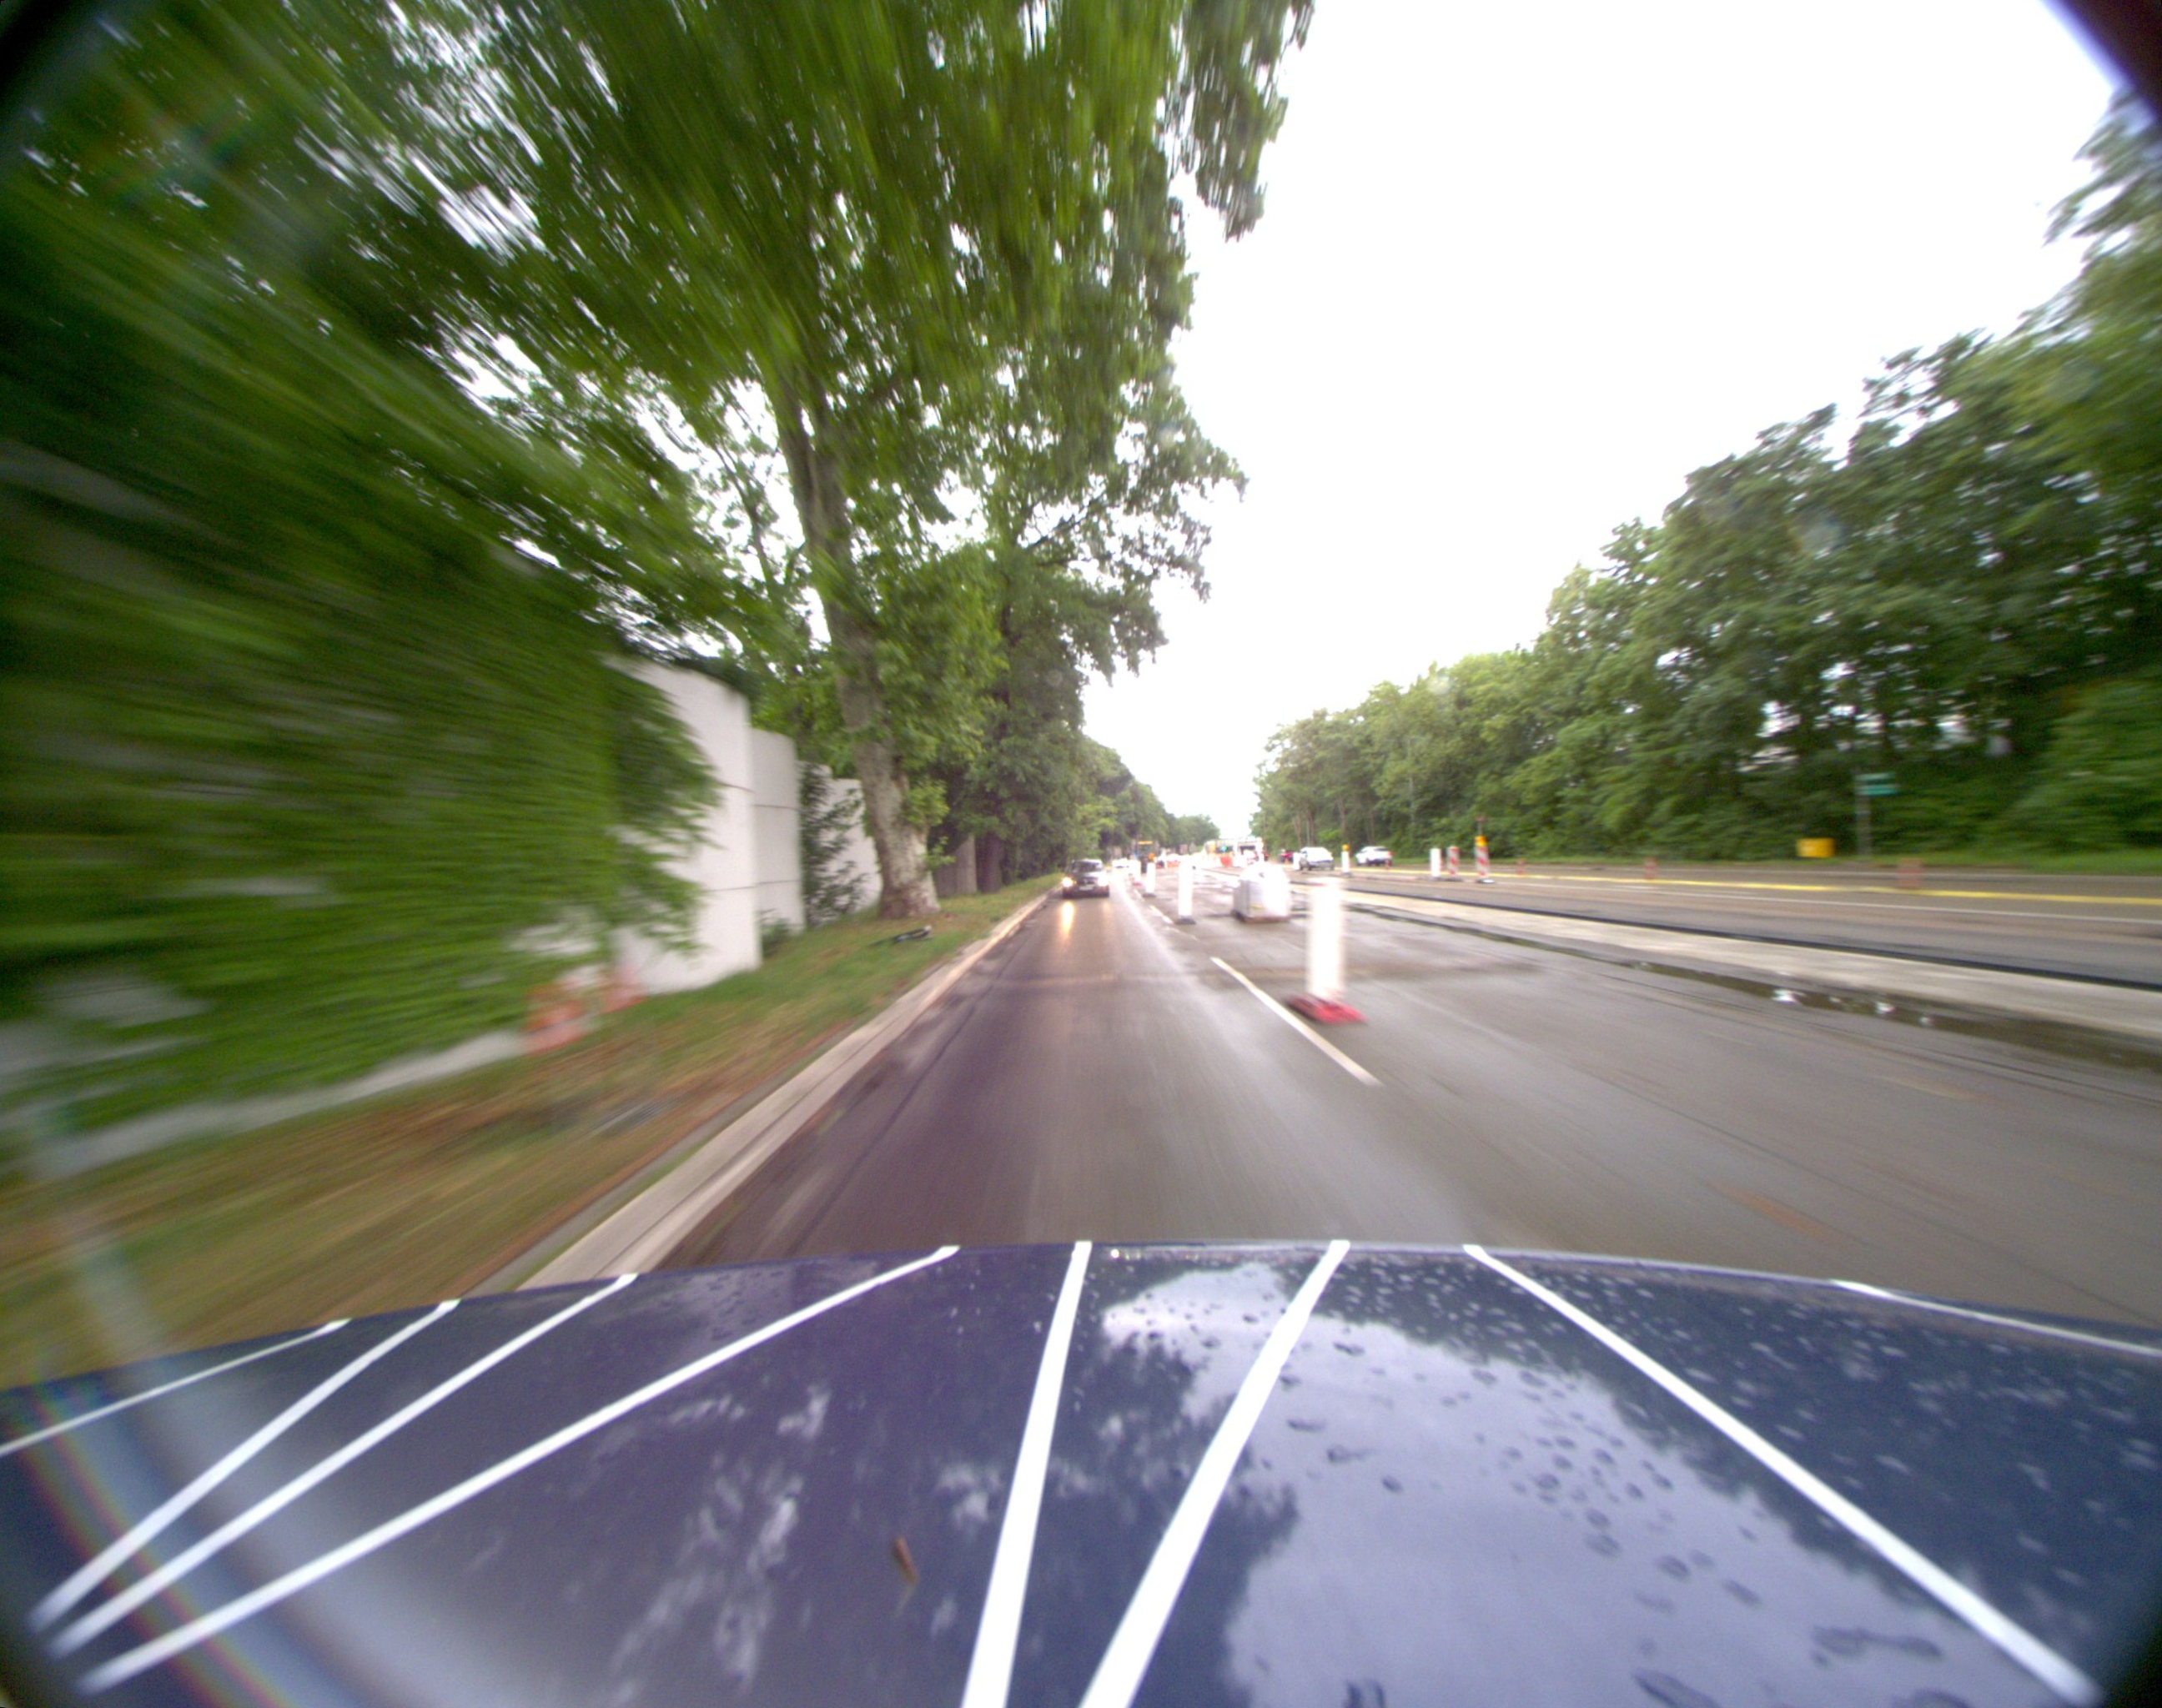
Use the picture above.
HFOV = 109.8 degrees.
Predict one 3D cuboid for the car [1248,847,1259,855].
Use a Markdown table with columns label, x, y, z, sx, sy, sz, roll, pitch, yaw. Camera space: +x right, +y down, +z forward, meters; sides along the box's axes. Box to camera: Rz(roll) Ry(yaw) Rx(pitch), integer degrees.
| label | x | y | z | sx | sy | sz | roll | pitch | yaw |
| --- | --- | --- | --- | --- | --- | --- | --- | --- | --- |
| car | 34.335 | -0.574 | 151.395 | 1.787 | 1.418 | 4.472 | -2 | 0 | 10 |

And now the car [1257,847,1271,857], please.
| label | x | y | z | sx | sy | sz | roll | pitch | yaw |
| --- | --- | --- | --- | --- | --- | --- | --- | --- | --- |
| car | 28.990 | -0.341 | 120.498 | 1.787 | 1.444 | 4.684 | -2 | 0 | 9 |

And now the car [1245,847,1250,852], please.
| label | x | y | z | sx | sy | sz | roll | pitch | yaw |
| --- | --- | --- | --- | --- | --- | --- | --- | --- | --- |
| car | 55.397 | -1.356 | 252.793 | 1.677 | 1.604 | 3.773 | -1 | 0 | 12 |

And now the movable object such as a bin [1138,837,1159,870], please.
| label | x | y | z | sx | sy | sz | roll | pitch | yaw |
| --- | --- | --- | --- | --- | --- | --- | --- | --- | --- |
| movable object such as a bin | 6.433 | -0.026 | 72.456 | 1.807 | 2.968 | 5.247 | -2 | 0 | 5 |

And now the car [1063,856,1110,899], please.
| label | x | y | z | sx | sy | sz | roll | pitch | yaw |
| --- | --- | --- | --- | --- | --- | --- | --- | --- | --- |
| car | 0.257 | 0.870 | 30.077 | 1.701 | 1.477 | 4.000 | -2 | 1 | 2 |

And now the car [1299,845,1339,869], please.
| label | x | y | z | sx | sy | sz | roll | pitch | yaw |
| --- | --- | --- | --- | --- | --- | --- | --- | --- | --- |
| car | 16.506 | 0.196 | 52.881 | 1.793 | 1.574 | 3.862 | -3 | 0 | 4 |

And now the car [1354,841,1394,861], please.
| label | x | y | z | sx | sy | sz | roll | pitch | yaw |
| --- | --- | --- | --- | --- | --- | --- | --- | --- | --- |
| car | 22.955 | -0.210 | 59.662 | 1.670 | 1.532 | 4.158 | 0 | 0 | 1 |

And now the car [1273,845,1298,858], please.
| label | x | y | z | sx | sy | sz | roll | pitch | yaw |
| --- | --- | --- | --- | --- | --- | --- | --- | --- | --- |
| car | 26.045 | -0.321 | 96.884 | 1.781 | 1.654 | 4.915 | -1 | 0 | 0 |

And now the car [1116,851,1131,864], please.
| label | x | y | z | sx | sy | sz | roll | pitch | yaw |
| --- | --- | --- | --- | --- | --- | --- | --- | --- | --- |
| car | 6.078 | 0.526 | 108.226 | 1.706 | 1.681 | 4.474 | -2 | 1 | 8 |
